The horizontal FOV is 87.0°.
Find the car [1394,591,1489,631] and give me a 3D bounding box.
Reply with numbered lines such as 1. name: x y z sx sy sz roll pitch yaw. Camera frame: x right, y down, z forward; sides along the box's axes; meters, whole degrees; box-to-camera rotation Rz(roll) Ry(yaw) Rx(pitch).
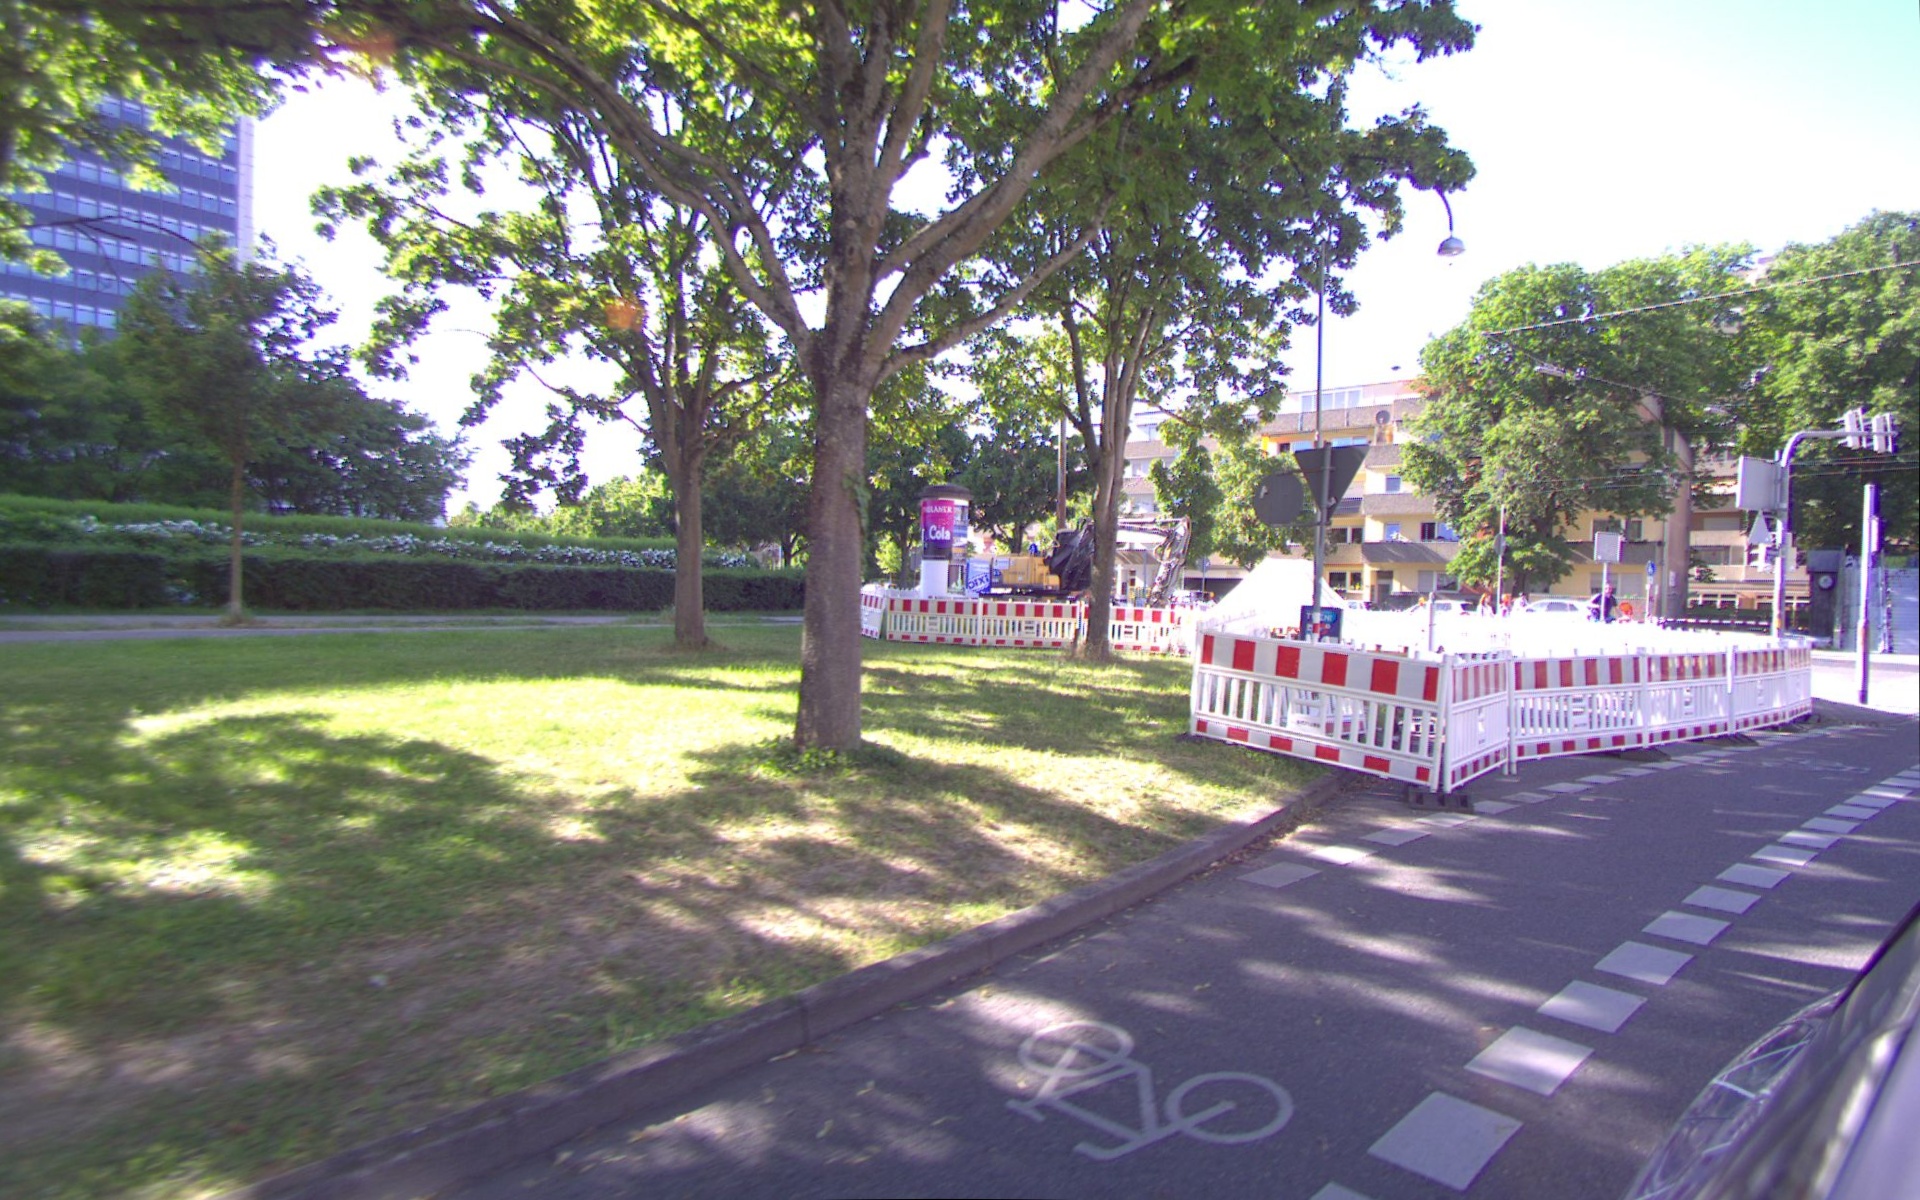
1. car: 21.647 0.480 45.588 1.623 1.551 3.511 3 1 -32

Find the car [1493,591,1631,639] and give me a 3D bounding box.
1. car: 23.950 0.568 40.405 1.897 1.640 4.329 1 2 -29

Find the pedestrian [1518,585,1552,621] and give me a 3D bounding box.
1. pedestrian: 25.539 0.140 44.985 0.860 1.572 0.936 1 1 -20

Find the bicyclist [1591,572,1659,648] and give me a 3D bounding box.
1. bicyclist: 16.926 0.240 25.771 0.896 1.853 1.098 2 1 -28

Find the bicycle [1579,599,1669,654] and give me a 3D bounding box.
1. bicycle: 16.934 0.663 25.842 0.641 1.282 1.787 2 1 -27

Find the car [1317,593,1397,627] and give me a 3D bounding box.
1. car: 19.368 0.470 49.500 1.633 1.423 3.297 3 1 -30

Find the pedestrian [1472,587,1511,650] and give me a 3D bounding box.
1. pedestrian: 14.156 0.486 26.953 0.622 1.621 0.641 1 1 -20

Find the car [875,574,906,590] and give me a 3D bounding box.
1. car: -6.872 -1.768 99.941 1.728 1.474 3.700 1 2 -27

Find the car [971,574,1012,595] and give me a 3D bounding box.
1. car: 2.639 -1.324 84.732 1.773 1.695 3.883 1 1 -27

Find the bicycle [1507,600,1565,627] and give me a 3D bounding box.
1. bicycle: 25.553 0.596 44.930 0.793 1.074 2.198 1 1 -20

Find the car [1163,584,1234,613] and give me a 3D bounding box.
1. car: 13.040 -0.110 55.450 1.751 1.536 3.761 1 0 -27

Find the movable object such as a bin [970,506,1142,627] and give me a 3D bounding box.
1. movable object such as a bin: 2.862 -0.976 31.076 2.783 3.406 4.708 0 1 -37
